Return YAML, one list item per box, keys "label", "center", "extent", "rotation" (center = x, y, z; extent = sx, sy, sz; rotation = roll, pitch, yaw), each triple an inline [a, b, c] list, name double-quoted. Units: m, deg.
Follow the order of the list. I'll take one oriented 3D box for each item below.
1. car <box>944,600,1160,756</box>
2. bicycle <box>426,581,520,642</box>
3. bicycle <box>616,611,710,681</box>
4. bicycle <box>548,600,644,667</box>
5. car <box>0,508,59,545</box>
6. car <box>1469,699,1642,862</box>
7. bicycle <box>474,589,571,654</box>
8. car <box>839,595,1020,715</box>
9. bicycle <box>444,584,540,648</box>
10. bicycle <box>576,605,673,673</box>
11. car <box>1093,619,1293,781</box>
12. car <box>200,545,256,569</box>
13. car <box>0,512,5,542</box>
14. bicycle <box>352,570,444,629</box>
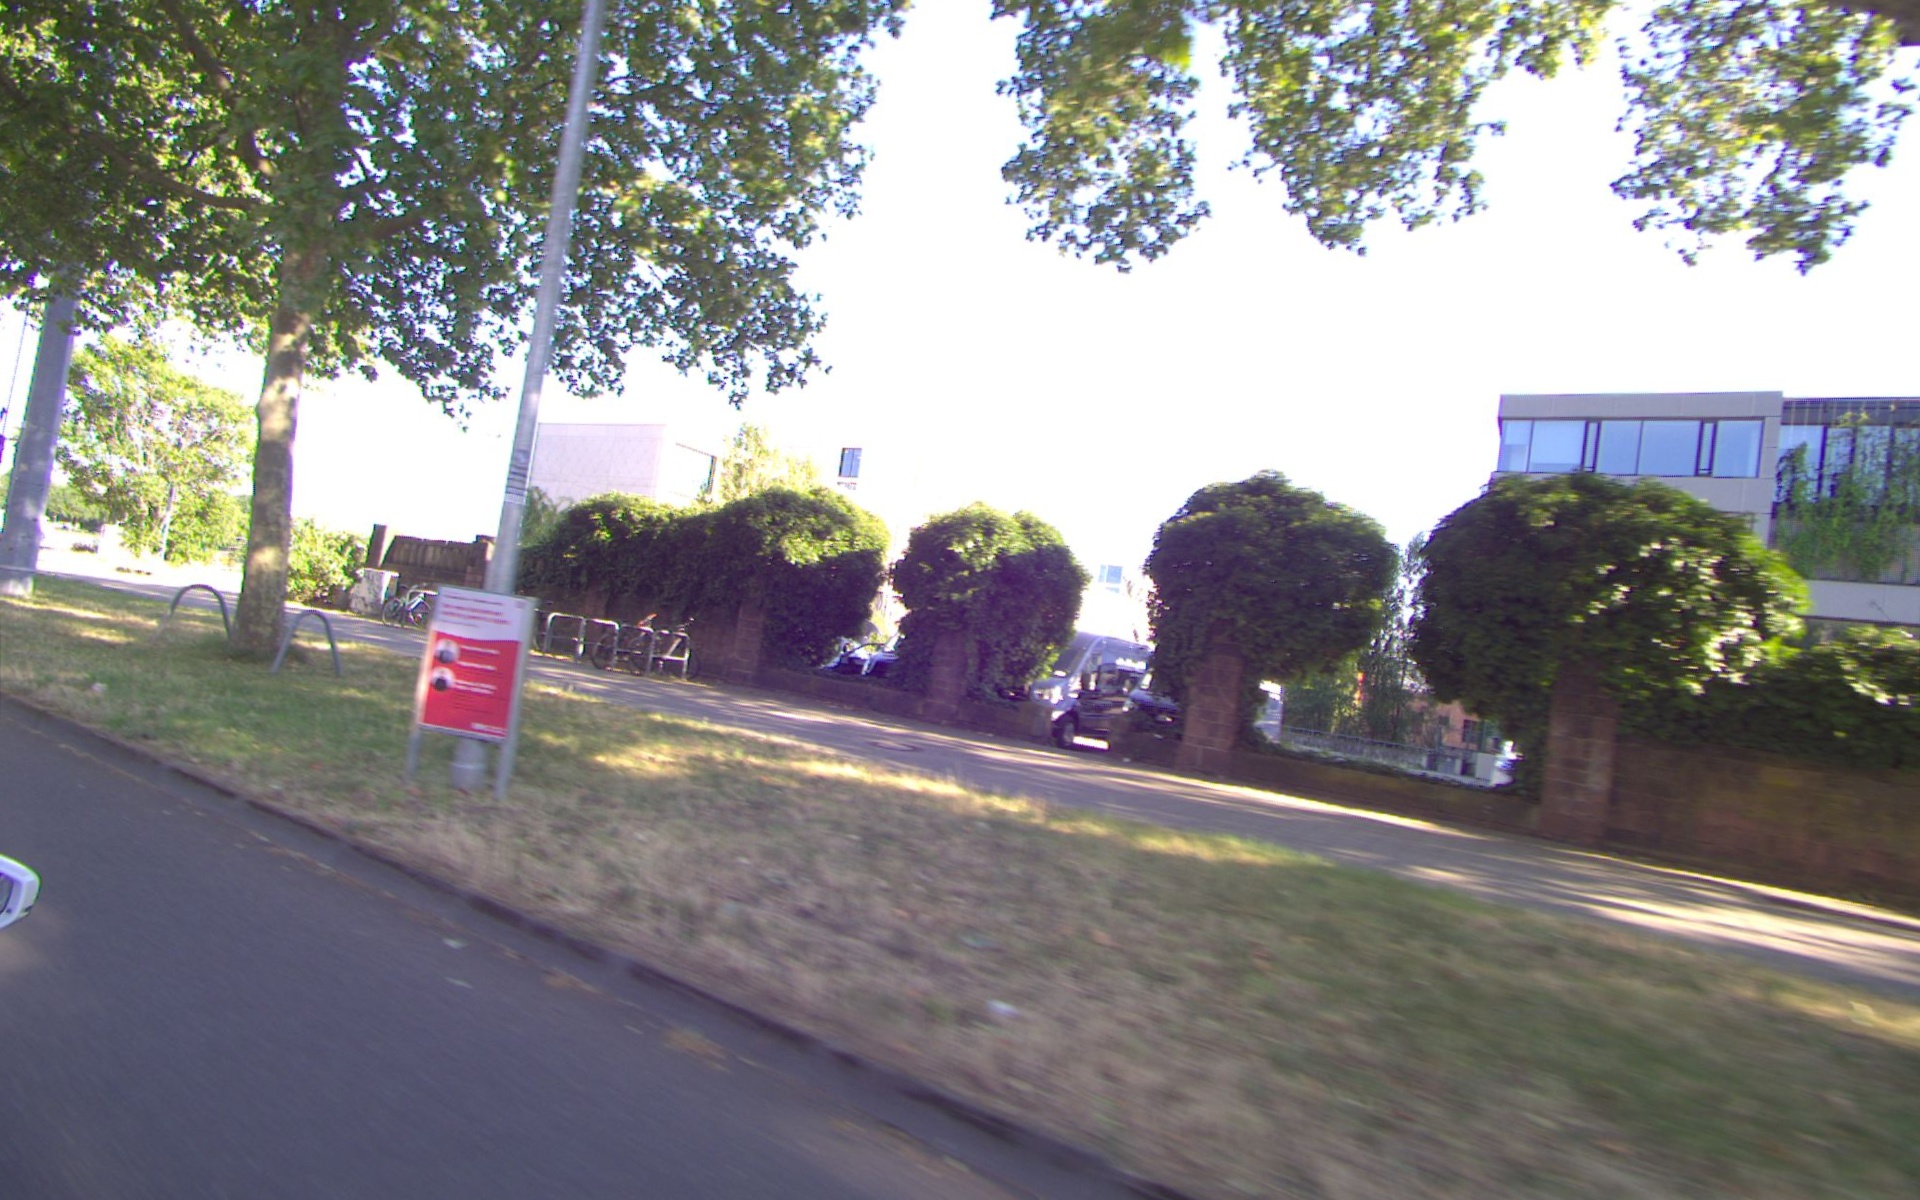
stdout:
- label: "car"
  center: [2.076, 1.725, 20.548]
  extent: [1.967, 2.515, 5.479]
  rotation: [7, -5, 31]
- label: "bicycle"
  center: [-10.568, 0.275, 21.903]
  extent: [0.432, 1.133, 1.777]
  rotation: [7, -2, 31]
- label: "bicycle"
  center: [-5.438, 0.862, 18.503]
  extent: [0.432, 1.133, 1.691]
  rotation: [7, -2, 31]
- label: "bicycle"
  center: [-7.067, 0.672, 19.623]
  extent: [0.432, 1.133, 1.777]
  rotation: [7, -2, 31]
- label: "car"
  center: [-56.703, -4.565, 59.649]
  extent: [1.888, 1.676, 4.466]
  rotation: [6, -4, 36]
- label: "car"
  center: [9.910, 2.943, 16.844]
  extent: [1.967, 2.002, 5.280]
  rotation: [7, -5, 31]
- label: "bicycle"
  center: [-8.921, 0.464, 20.594]
  extent: [0.432, 1.133, 1.777]
  rotation: [7, -2, 31]
- label: "car"
  center: [-0.573, 1.296, 22.355]
  extent: [1.967, 2.161, 3.998]
  rotation: [7, -3, 31]
- label: "bicycle"
  center: [-9.817, 0.355, 21.166]
  extent: [0.432, 1.133, 1.777]
  rotation: [7, -2, 31]
- label: "bicycle"
  center: [-6.322, 0.762, 19.059]
  extent: [0.432, 1.133, 1.777]
  rotation: [7, -2, 31]
- label: "car"
  center: [4.728, 2.061, 19.608]
  extent: [1.967, 2.515, 5.479]
  rotation: [7, -5, 31]
- label: "car"
  center: [-70.611, -4.148, 97.085]
  extent: [1.622, 1.618, 3.827]
  rotation: [7, -4, 29]
- label: "car"
  center: [-45.314, -3.462, 45.816]
  extent: [3.740, 1.531, 1.619]
  rotation: [7, -3, 32]
- label: "bicycle"
  center: [-12.653, 0.016, 22.706]
  extent: [0.431, 1.133, 1.779]
  rotation: [7, -2, 24]
